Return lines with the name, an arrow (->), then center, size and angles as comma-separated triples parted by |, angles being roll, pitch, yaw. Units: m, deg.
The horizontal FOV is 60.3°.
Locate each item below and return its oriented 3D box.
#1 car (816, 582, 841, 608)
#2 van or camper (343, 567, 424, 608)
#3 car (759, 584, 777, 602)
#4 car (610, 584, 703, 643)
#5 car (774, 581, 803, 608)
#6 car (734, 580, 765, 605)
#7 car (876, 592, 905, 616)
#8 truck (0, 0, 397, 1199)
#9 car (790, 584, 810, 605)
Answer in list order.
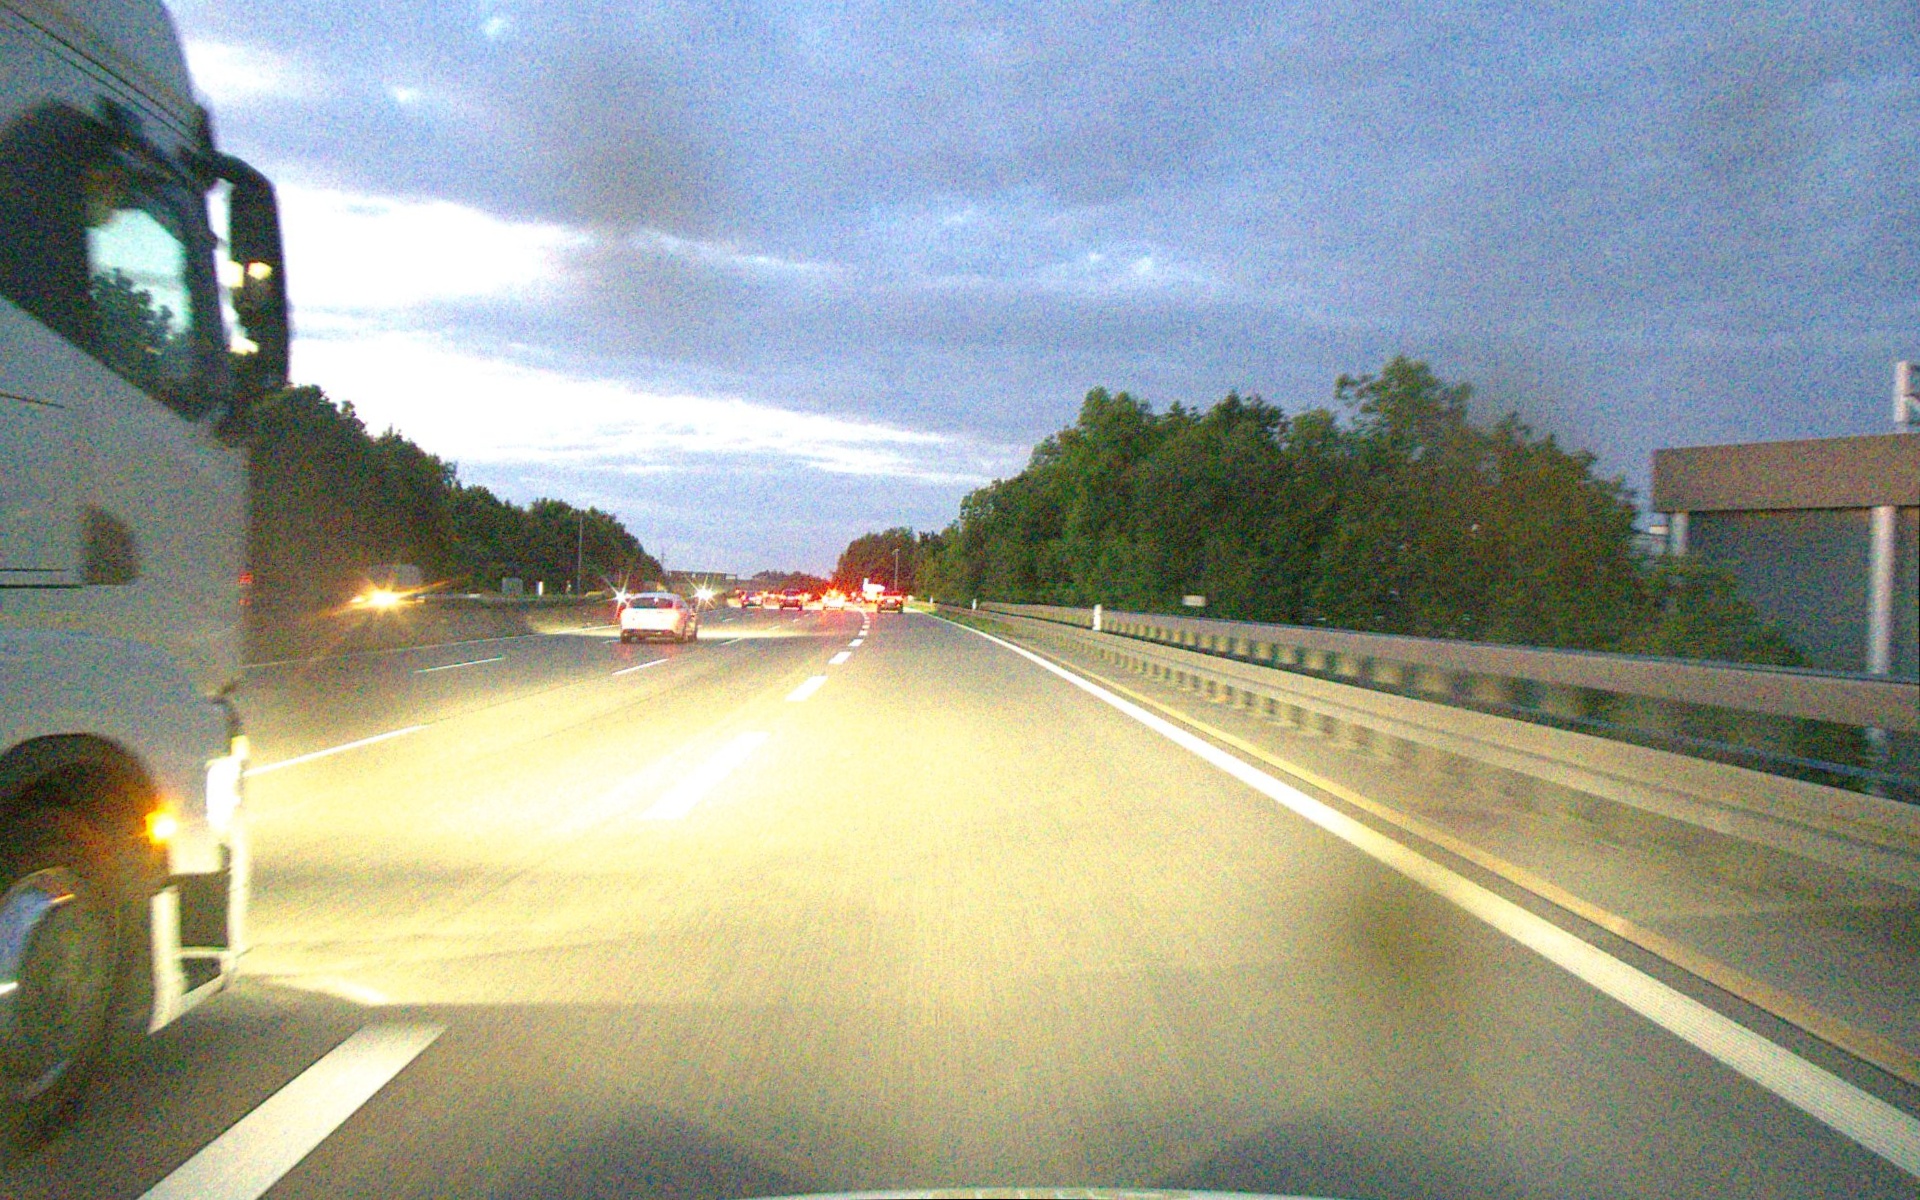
car -> -10.557, -0.383, 133.406 | 1.954, 2.049, 3.996 | 1, 0, -4
van or camper -> -30.239, -0.623, 87.011 | 2.330, 2.049, 6.488 | 1, 0, -4
car -> -24.511, -0.931, 211.472 | 1.954, 2.048, 3.997 | 4, 0, -4
car -> -8.889, 0.371, 48.778 | 1.953, 1.671, 4.554 | 0, 0, -1
car -> -13.426, -0.449, 129.727 | 2.030, 2.049, 3.997 | 0, 0, -3
car -> -17.466, -0.653, 137.559 | 2.061, 2.049, 4.000 | 0, 0, -1
car -> -5.069, 0.285, 120.445 | 1.954, 1.688, 4.311 | 0, 0, -4
truck -> -3.494, -0.528, 3.259 | 2.722, 3.970, 6.153 | 0, 0, -1
car -> -16.466, -0.569, 170.418 | 1.955, 2.049, 3.995 | 1, 0, -6
